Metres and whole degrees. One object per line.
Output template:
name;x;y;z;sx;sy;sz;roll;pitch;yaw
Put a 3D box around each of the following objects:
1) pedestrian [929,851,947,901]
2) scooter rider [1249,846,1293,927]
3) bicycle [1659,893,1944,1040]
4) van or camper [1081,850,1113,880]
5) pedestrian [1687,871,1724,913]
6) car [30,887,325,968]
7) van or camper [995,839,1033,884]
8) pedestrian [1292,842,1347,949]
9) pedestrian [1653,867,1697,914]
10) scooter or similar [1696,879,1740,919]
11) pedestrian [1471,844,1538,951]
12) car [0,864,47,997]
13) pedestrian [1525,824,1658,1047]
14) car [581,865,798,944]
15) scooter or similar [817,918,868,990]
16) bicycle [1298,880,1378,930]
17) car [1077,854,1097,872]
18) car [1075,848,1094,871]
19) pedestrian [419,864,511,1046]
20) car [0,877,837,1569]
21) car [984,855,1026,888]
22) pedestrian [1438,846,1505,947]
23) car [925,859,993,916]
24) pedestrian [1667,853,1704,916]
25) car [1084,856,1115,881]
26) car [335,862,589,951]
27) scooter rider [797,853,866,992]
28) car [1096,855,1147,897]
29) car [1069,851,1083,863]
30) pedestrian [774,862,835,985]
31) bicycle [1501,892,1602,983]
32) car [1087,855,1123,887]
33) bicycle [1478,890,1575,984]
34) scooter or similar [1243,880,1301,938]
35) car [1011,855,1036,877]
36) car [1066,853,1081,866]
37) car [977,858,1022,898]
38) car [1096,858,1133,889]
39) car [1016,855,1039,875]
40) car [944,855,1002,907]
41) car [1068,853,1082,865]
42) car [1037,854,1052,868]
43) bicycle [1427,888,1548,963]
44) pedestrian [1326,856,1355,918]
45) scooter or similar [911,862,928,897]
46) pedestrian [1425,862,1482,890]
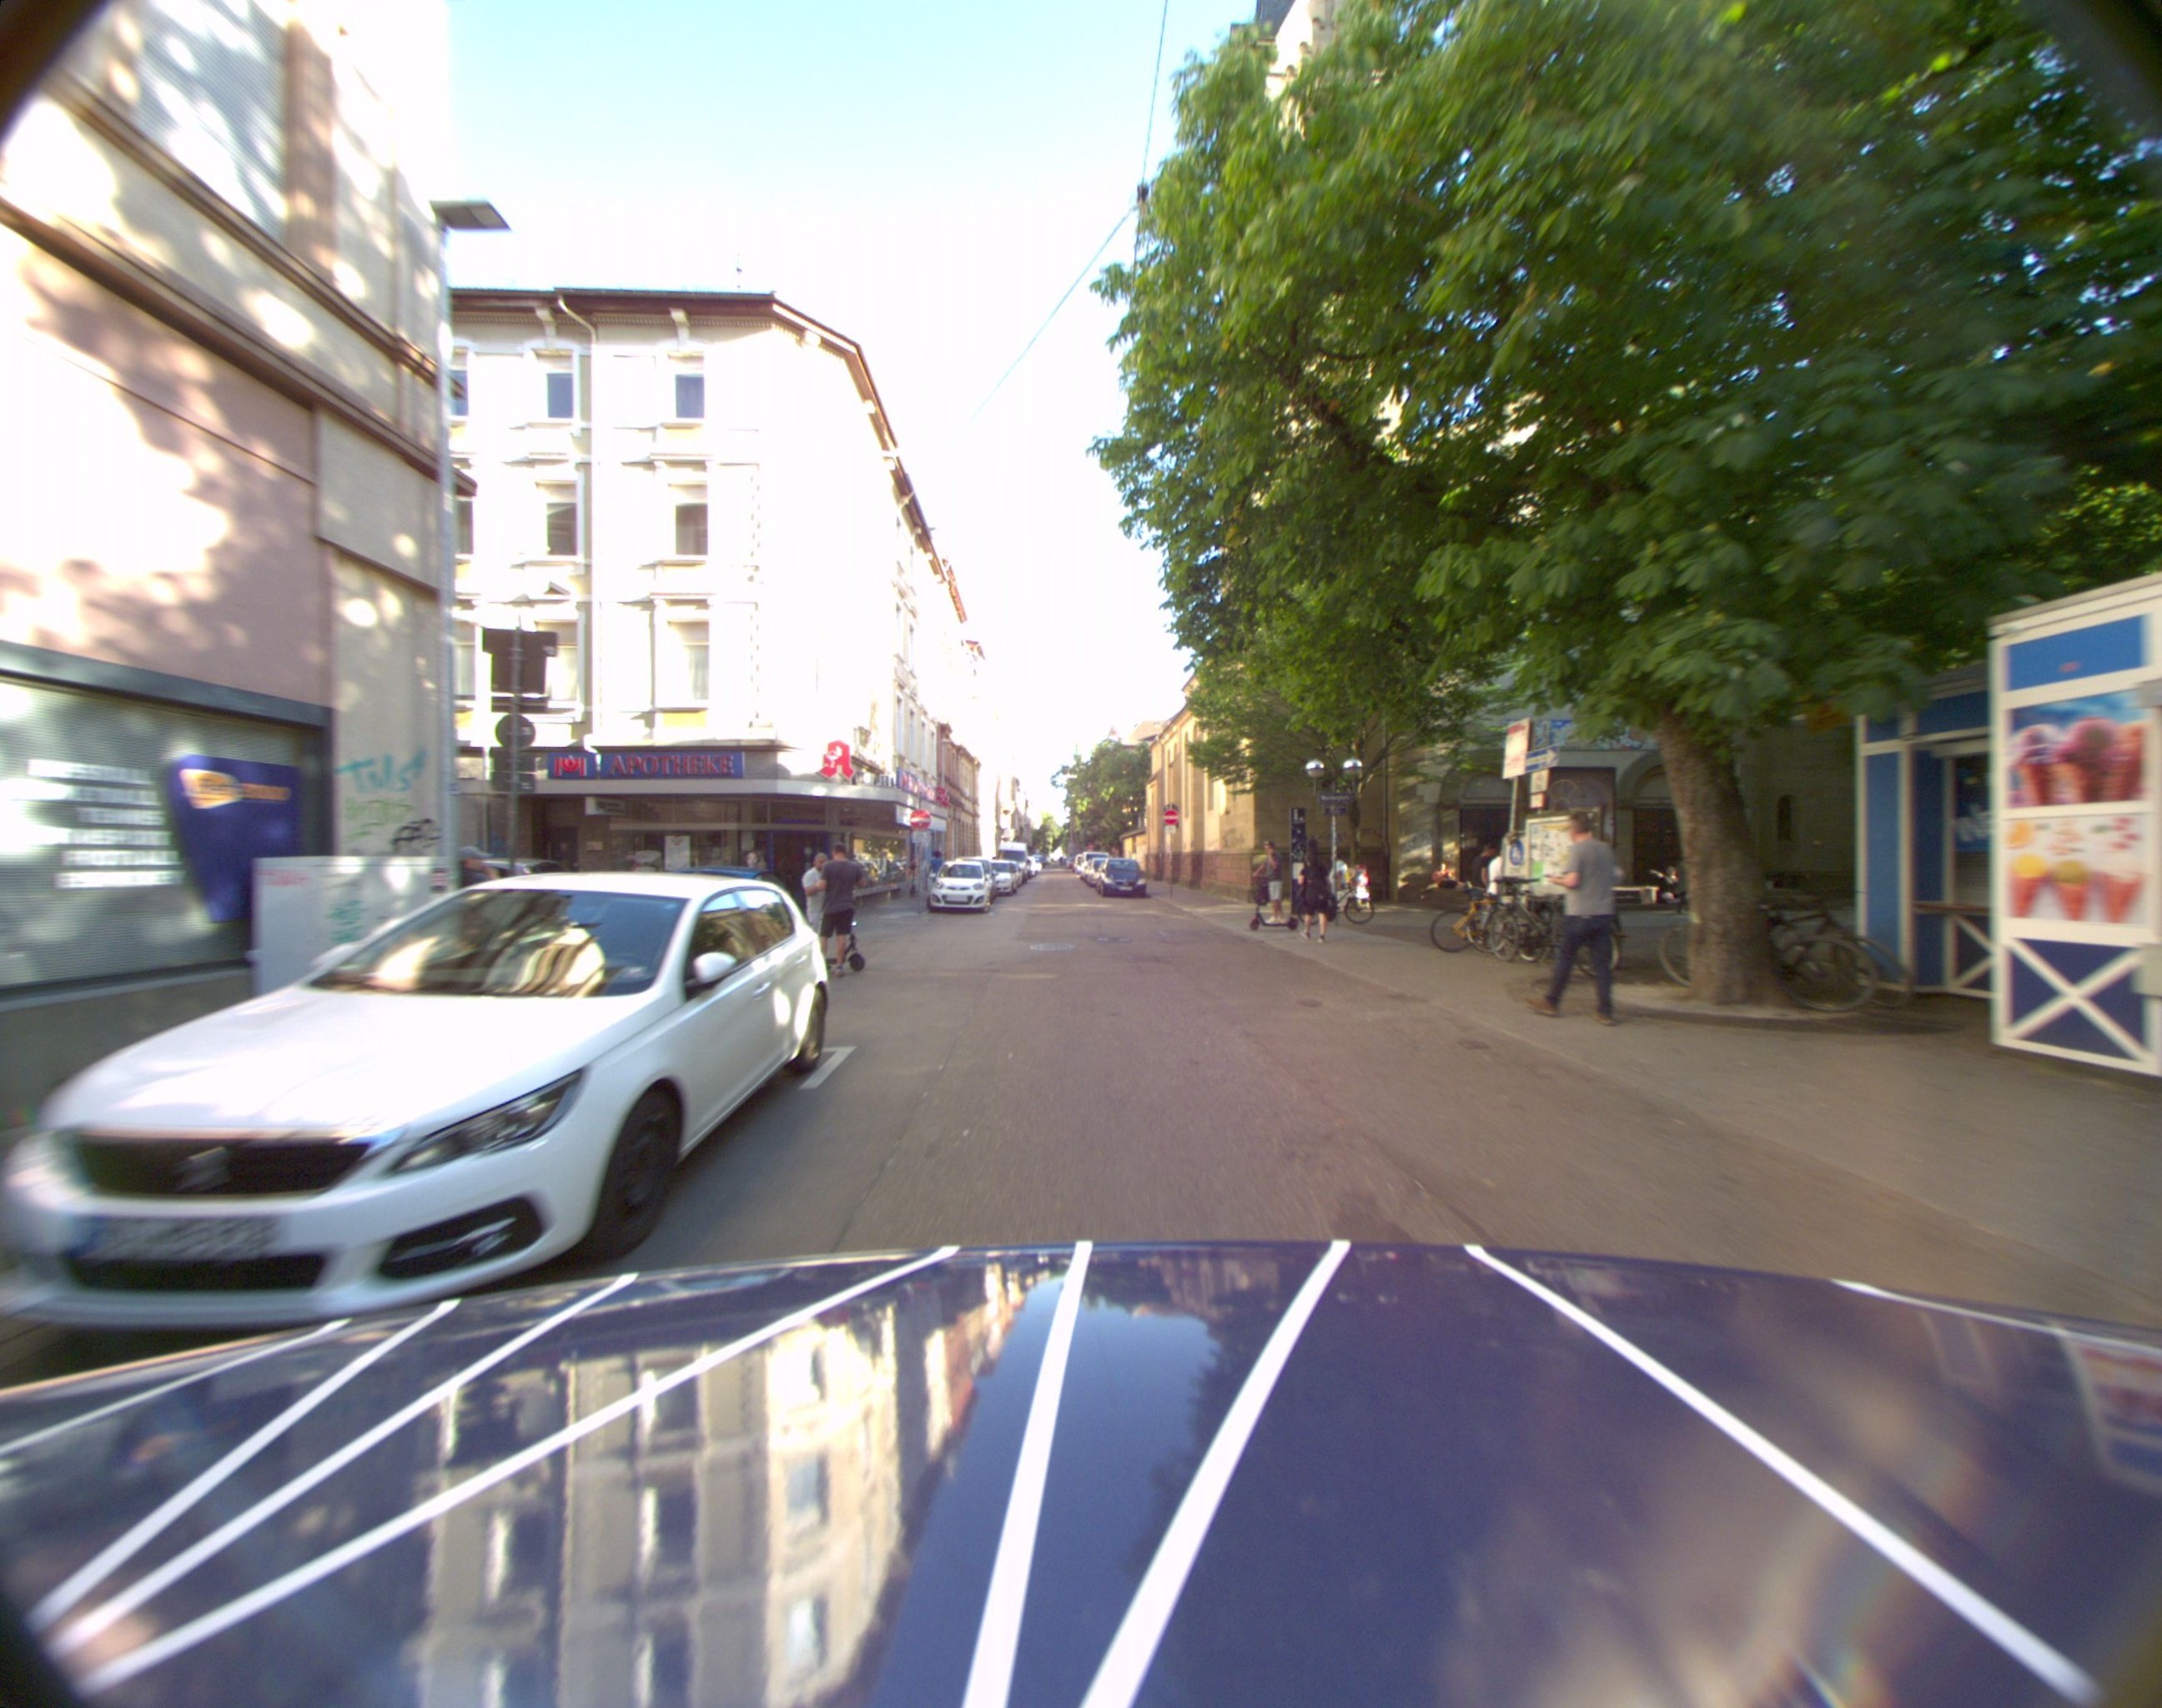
pedestrian;-5.459;0.831;29.088;0.563;1.883;0.530;-1;1;-2
scooter rider;3.994;0.667;15.991;0.689;1.638;0.720;-1;1;-3
bicycle;6.829;0.993;7.384;0.499;1.124;2.035;-2;0;-15
van or camper;1.030;0.742;52.383;1.984;1.939;4.562;-1;0;-2
pedestrian;17.020;1.024;20.724;0.616;1.101;0.490;-1;1;-3
car;-18.180;1.442;15.433;3.988;1.447;1.559;0;1;-2
van or camper;-4.236;0.420;48.771;1.999;2.617;5.977;-1;1;-1
pedestrian;4.304;0.727;13.760;0.718;1.862;0.720;-1;1;-2
pedestrian;16.276;0.985;20.833;0.615;1.224;0.741;-1;1;-3
scooter or similar;16.684;1.177;19.909;0.732;1.000;0.505;-1;1;9
pedestrian;7.450;0.744;13.375;0.763;1.825;0.688;-1;1;-4
car;-16.761;1.041;9.867;3.936;1.829;1.869;0;-2;-2
pedestrian;4.449;0.674;6.664;0.648;1.823;0.697;-2;1;-2
car;-8.025;1.009;15.842;3.583;1.477;1.788;0;1;-2
scooter or similar;-3.210;1.330;10.264;0.394;0.824;0.925;-1;1;-1
bicycle;5.815;1.144;17.184;1.694;1.059;0.346;-1;1;-4
car;0.494;0.774;68.983;1.696;1.529;3.812;-1;0;-2
car;0.308;0.515;74.390;1.777;2.128;4.022;-1;0;-2
pedestrian;-5.846;0.922;7.217;0.599;1.640;0.466;-1;-2;29
car;-2.718;0.980;3.922;1.792;1.507;4.134;-1;1;-4
car;-4.205;0.940;42.912;1.999;1.637;4.562;-1;1;-2
pedestrian;7.299;0.762;14.237;0.695;1.815;1.002;-1;1;-4
car;-3.583;0.925;22.777;1.694;1.454;3.638;-1;1;-5
pedestrian;15.934;0.799;20.033;0.561;1.622;0.549;-2;1;-14
car;1.128;0.858;47.771;1.696;1.472;3.736;-1;0;-2
car;-12.478;1.026;15.504;3.744;1.621;1.629;0;2;-2
scooter rider;-3.313;0.879;10.092;0.609;1.768;0.566;0;2;38
car;1.611;0.868;31.606;1.799;1.543;3.833;-1;1;-1
car;-0.738;0.430;108.853;1.777;1.614;4.021;-1;0;-3
pedestrian;-3.840;0.941;10.541;0.527;1.629;0.566;0;2;42
bicycle;6.166;1.055;10.044;0.293;1.040;1.578;-1;-1;-2
car;1.280;0.912;41.966;1.724;1.558;3.999;-1;1;-1
bicycle;5.840;1.046;10.046;0.293;1.076;1.578;-1;0;-2
scooter or similar;4.007;1.148;15.962;1.057;1.153;0.514;-1;1;-3
car;-4.331;0.900;57.743;1.696;1.615;3.812;-1;0;-2
car;-0.961;0.670;98.336;1.777;1.614;4.021;-1;0;-3
car;-3.492;0.998;33.082;1.558;1.518;4.199;-1;1;-1
car;1.616;0.922;37.511;1.577;1.356;4.145;-1;1;0
car;-4.389;0.874;63.154;1.696;1.615;3.962;-1;0;-2
car;-3.858;0.907;27.647;1.704;1.641;4.062;-1;1;-3
car;-0.833;0.656;102.998;1.777;1.614;4.021;-1;0;-3
car;-4.461;0.803;93.218;1.696;1.615;3.962;-1;0;-2
bicycle;6.122;1.080;11.476;1.576;1.076;0.347;-1;1;9
pedestrian;6.841;0.866;20.051;0.480;1.584;0.714;-2;1;-5
scooter or similar;-6.196;0.957;29.185;0.396;1.272;1.036;-1;1;-2
pedestrian;10.988;0.639;22.486;0.959;0.756;1.406;-1;1;-2
